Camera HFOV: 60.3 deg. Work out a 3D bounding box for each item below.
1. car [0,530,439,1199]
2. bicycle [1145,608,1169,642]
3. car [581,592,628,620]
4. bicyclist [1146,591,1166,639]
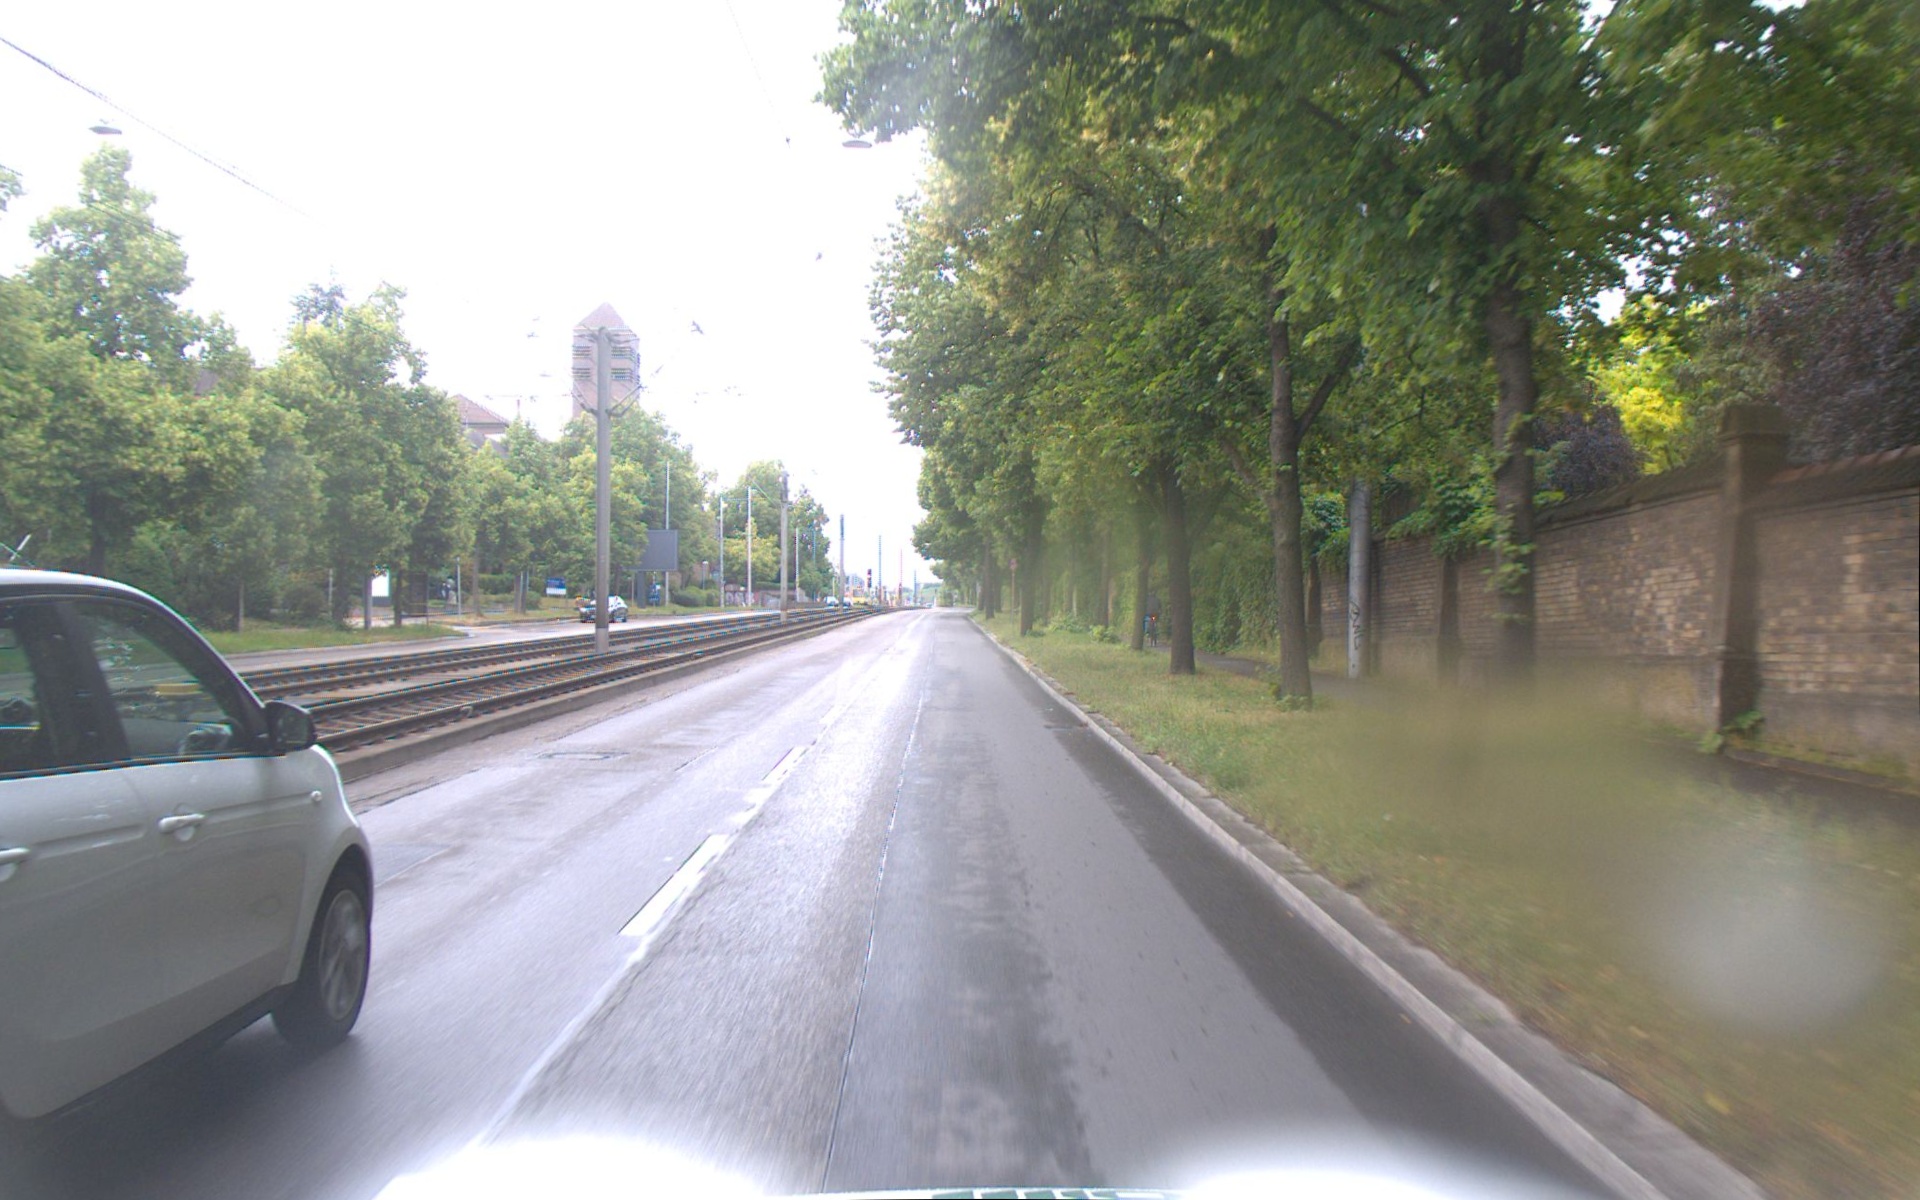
[{"bbox_3d":[-2.706,0.615,4.110,1.642,1.557,3.721,1,0,-1],"label":"car"},{"bbox_3d":[5.774,0.710,48.537,0.531,0.964,2.550,0,0,3],"label":"bicycle"},{"bbox_3d":[-19.848,0.324,92.493,1.758,1.557,4.620,0,0,-2],"label":"car"},{"bbox_3d":[5.780,0.437,48.813,0.524,1.414,0.666,0,0,2],"label":"bicyclist"}]
